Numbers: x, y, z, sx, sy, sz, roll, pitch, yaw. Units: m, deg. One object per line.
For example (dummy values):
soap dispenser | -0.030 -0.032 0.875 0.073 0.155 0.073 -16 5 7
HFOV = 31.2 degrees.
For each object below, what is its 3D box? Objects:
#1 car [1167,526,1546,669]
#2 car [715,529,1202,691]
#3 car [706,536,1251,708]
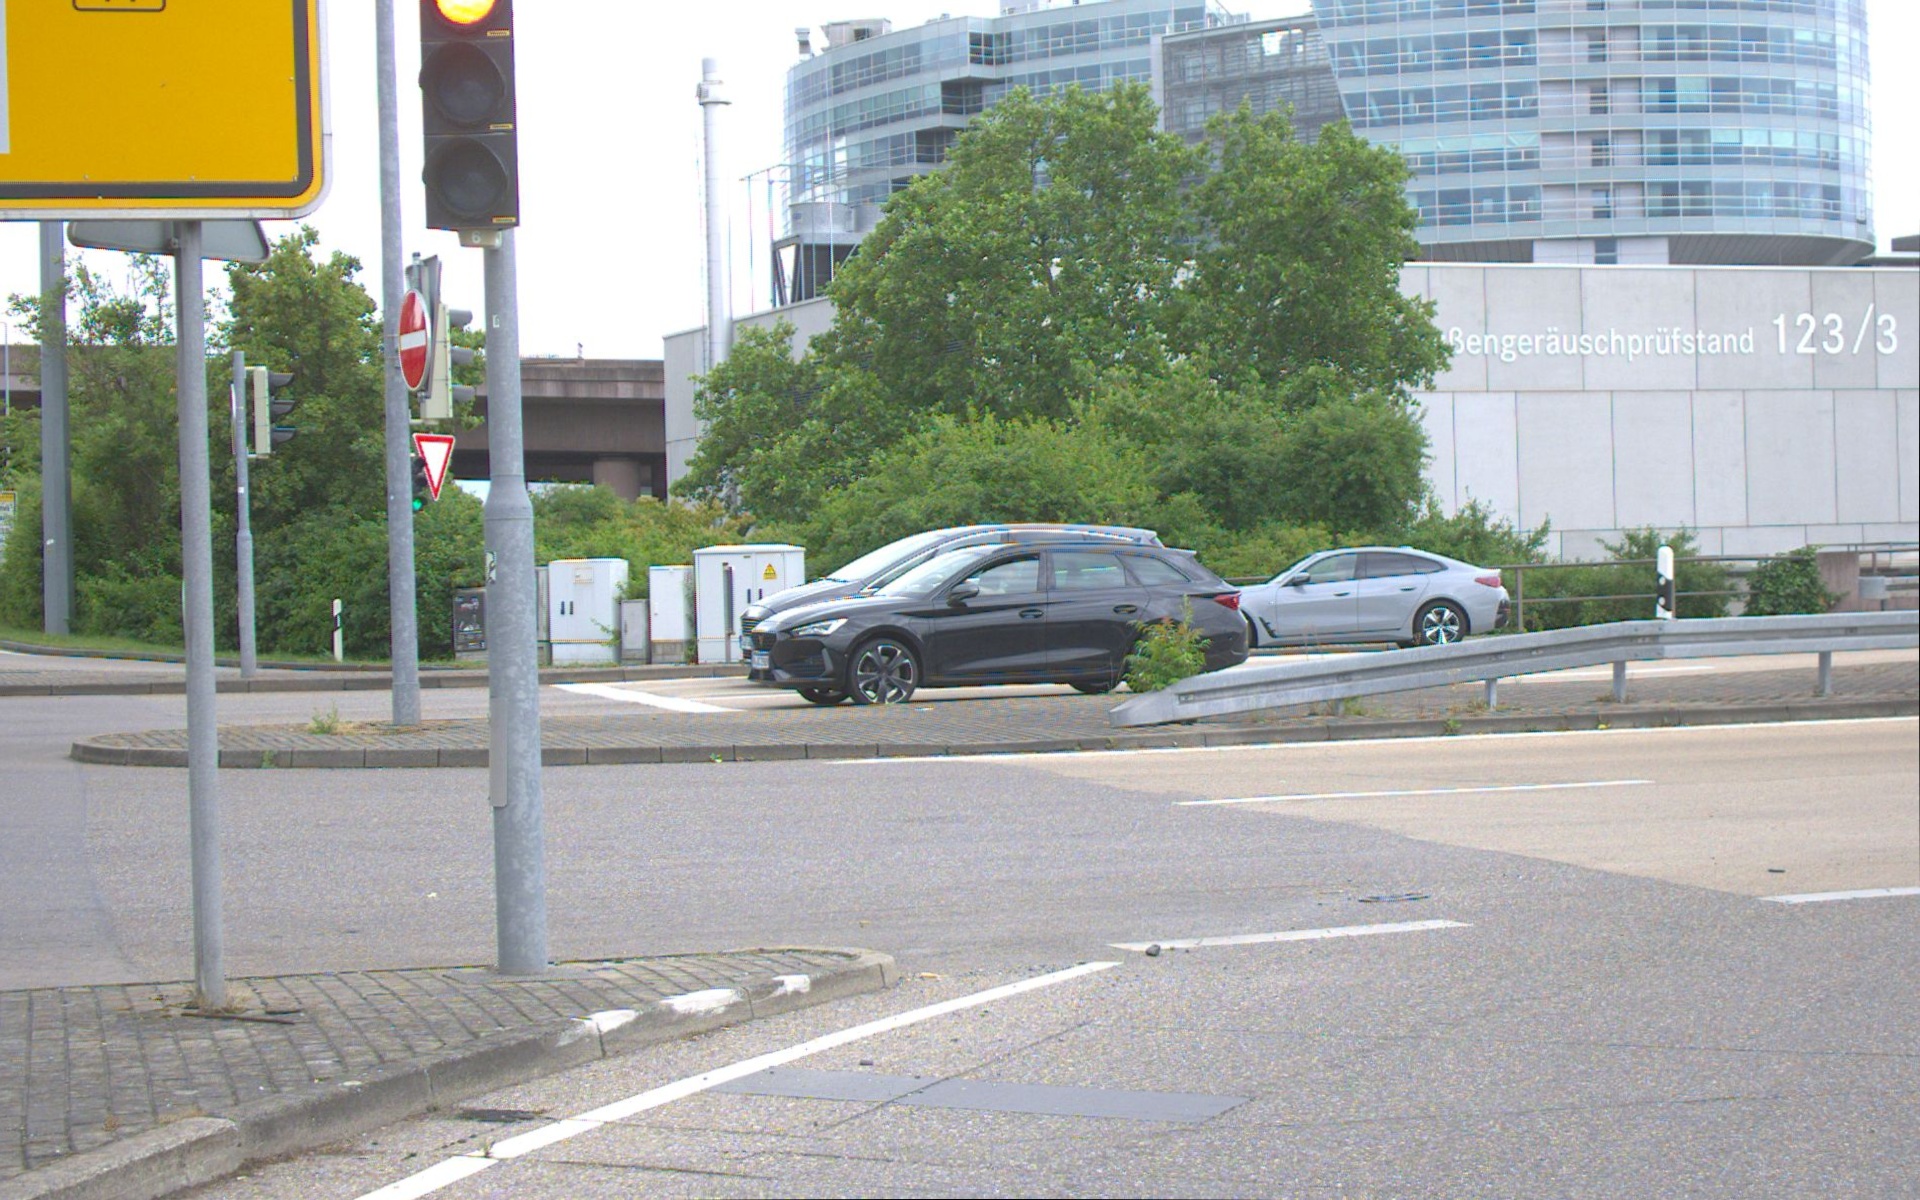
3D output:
car | 5.312 -0.053 46.426 4.731 1.656 1.916 3 1 -4
car | -0.026 0.066 35.730 4.677 1.566 1.956 -1 2 -19
car | 0.151 0.161 31.509 4.604 1.452 1.956 -1 2 -19
